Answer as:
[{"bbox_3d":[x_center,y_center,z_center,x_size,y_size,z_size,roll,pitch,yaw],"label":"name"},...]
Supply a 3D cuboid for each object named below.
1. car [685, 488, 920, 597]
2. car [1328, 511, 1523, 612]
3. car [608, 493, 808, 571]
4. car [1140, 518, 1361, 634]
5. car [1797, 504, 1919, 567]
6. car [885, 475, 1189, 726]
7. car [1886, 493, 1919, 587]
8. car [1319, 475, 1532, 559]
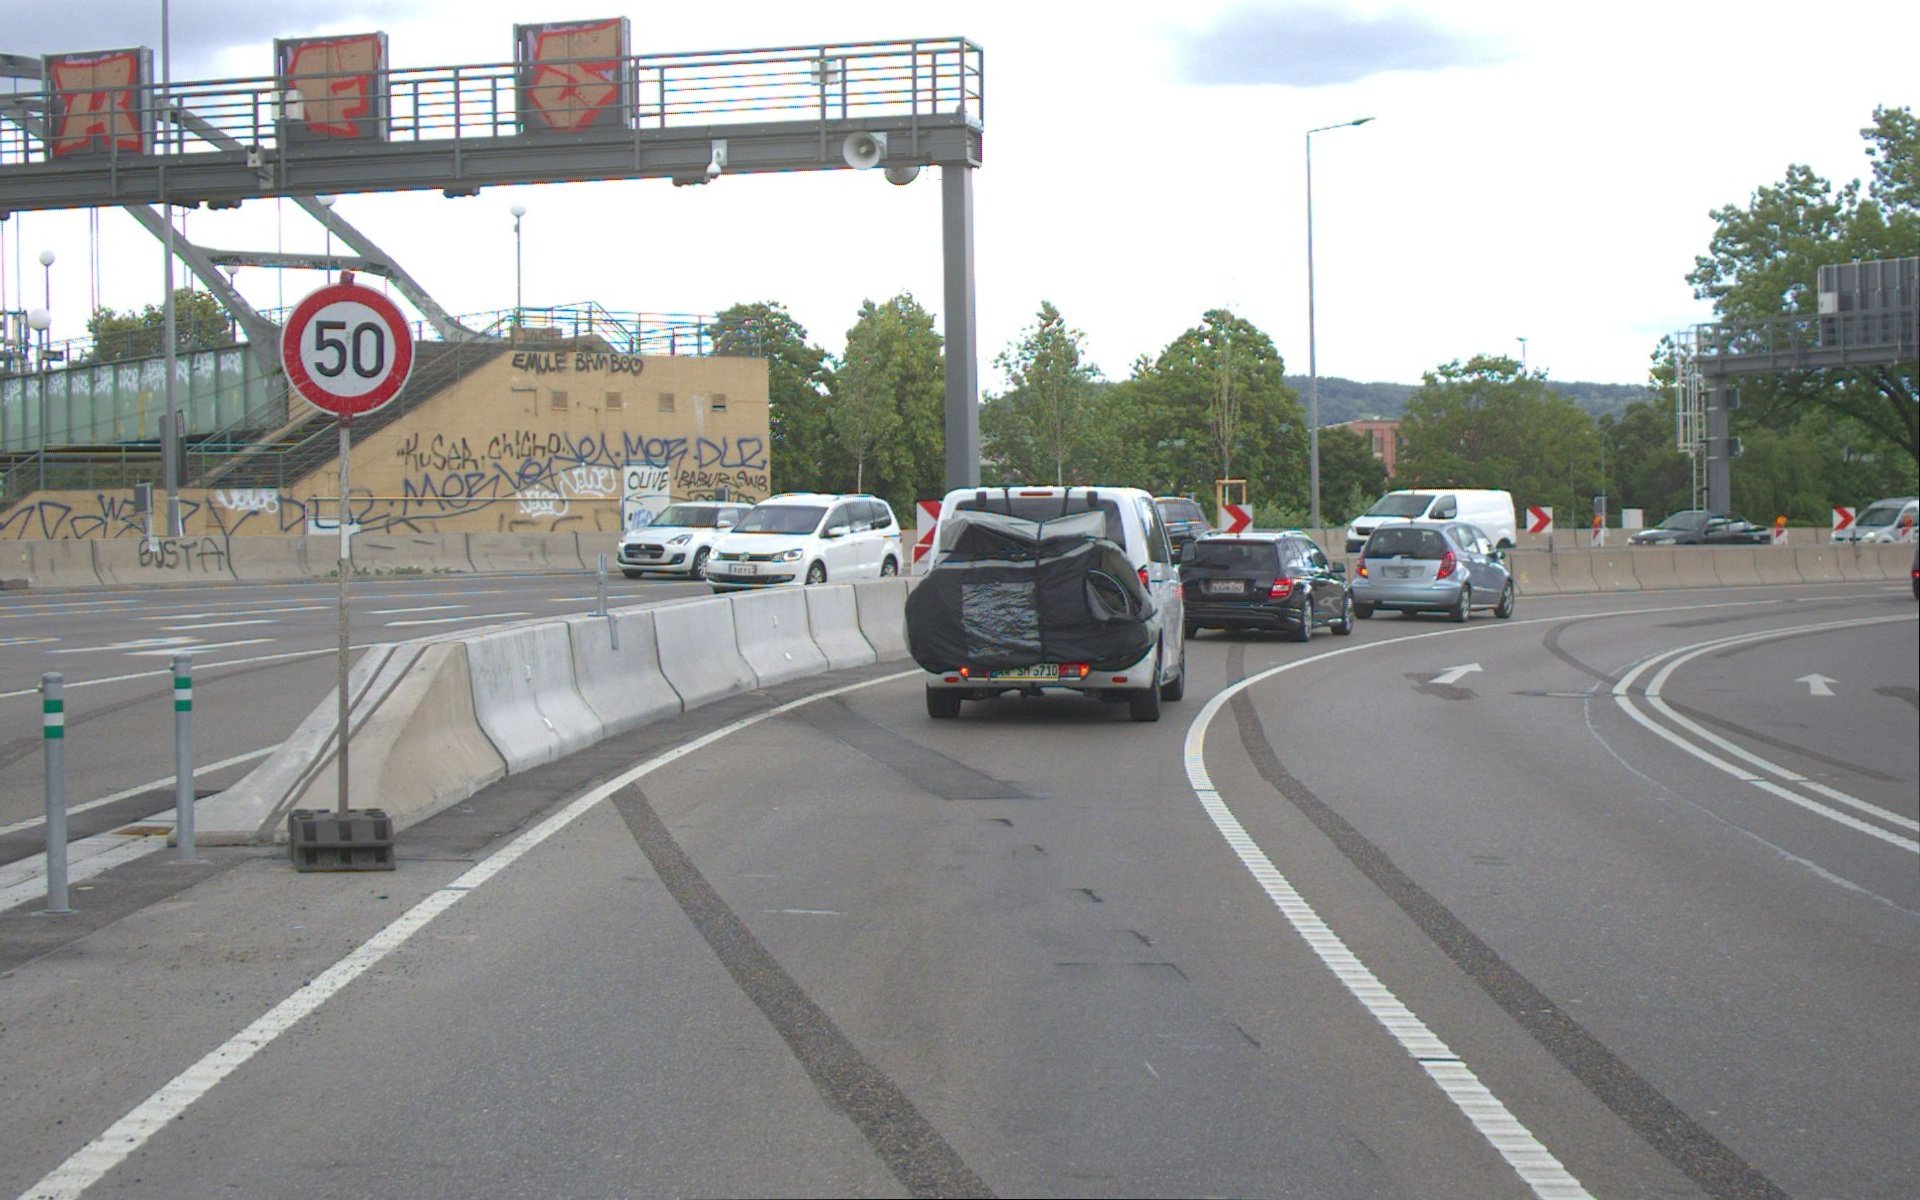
[{"bbox_3d":[-2.567,-0.971,57.740,1.952,1.744,5.269,0,1,21],"label":"car"},{"bbox_3d":[7.383,-0.638,54.177,1.923,1.483,4.060,1,2,25],"label":"car"},{"bbox_3d":[-4.745,-1.299,65.237,1.763,1.429,4.138,0,1,30],"label":"car"},{"bbox_3d":[3.884,-0.340,45.402,1.817,1.429,4.061,-1,1,21],"label":"car"},{"bbox_3d":[25.212,-1.802,95.372,1.999,1.680,4.248,2,2,44],"label":"car"},{"bbox_3d":[0.754,-0.052,28.334,1.993,1.852,5.640,0,1,6],"label":"car"},{"bbox_3d":[20.533,-1.217,69.831,1.998,1.853,3.992,1,1,37],"label":"car"},{"bbox_3d":[11.087,-1.970,81.726,5.090,1.945,2.244,-1,2,-42],"label":"car"}]
